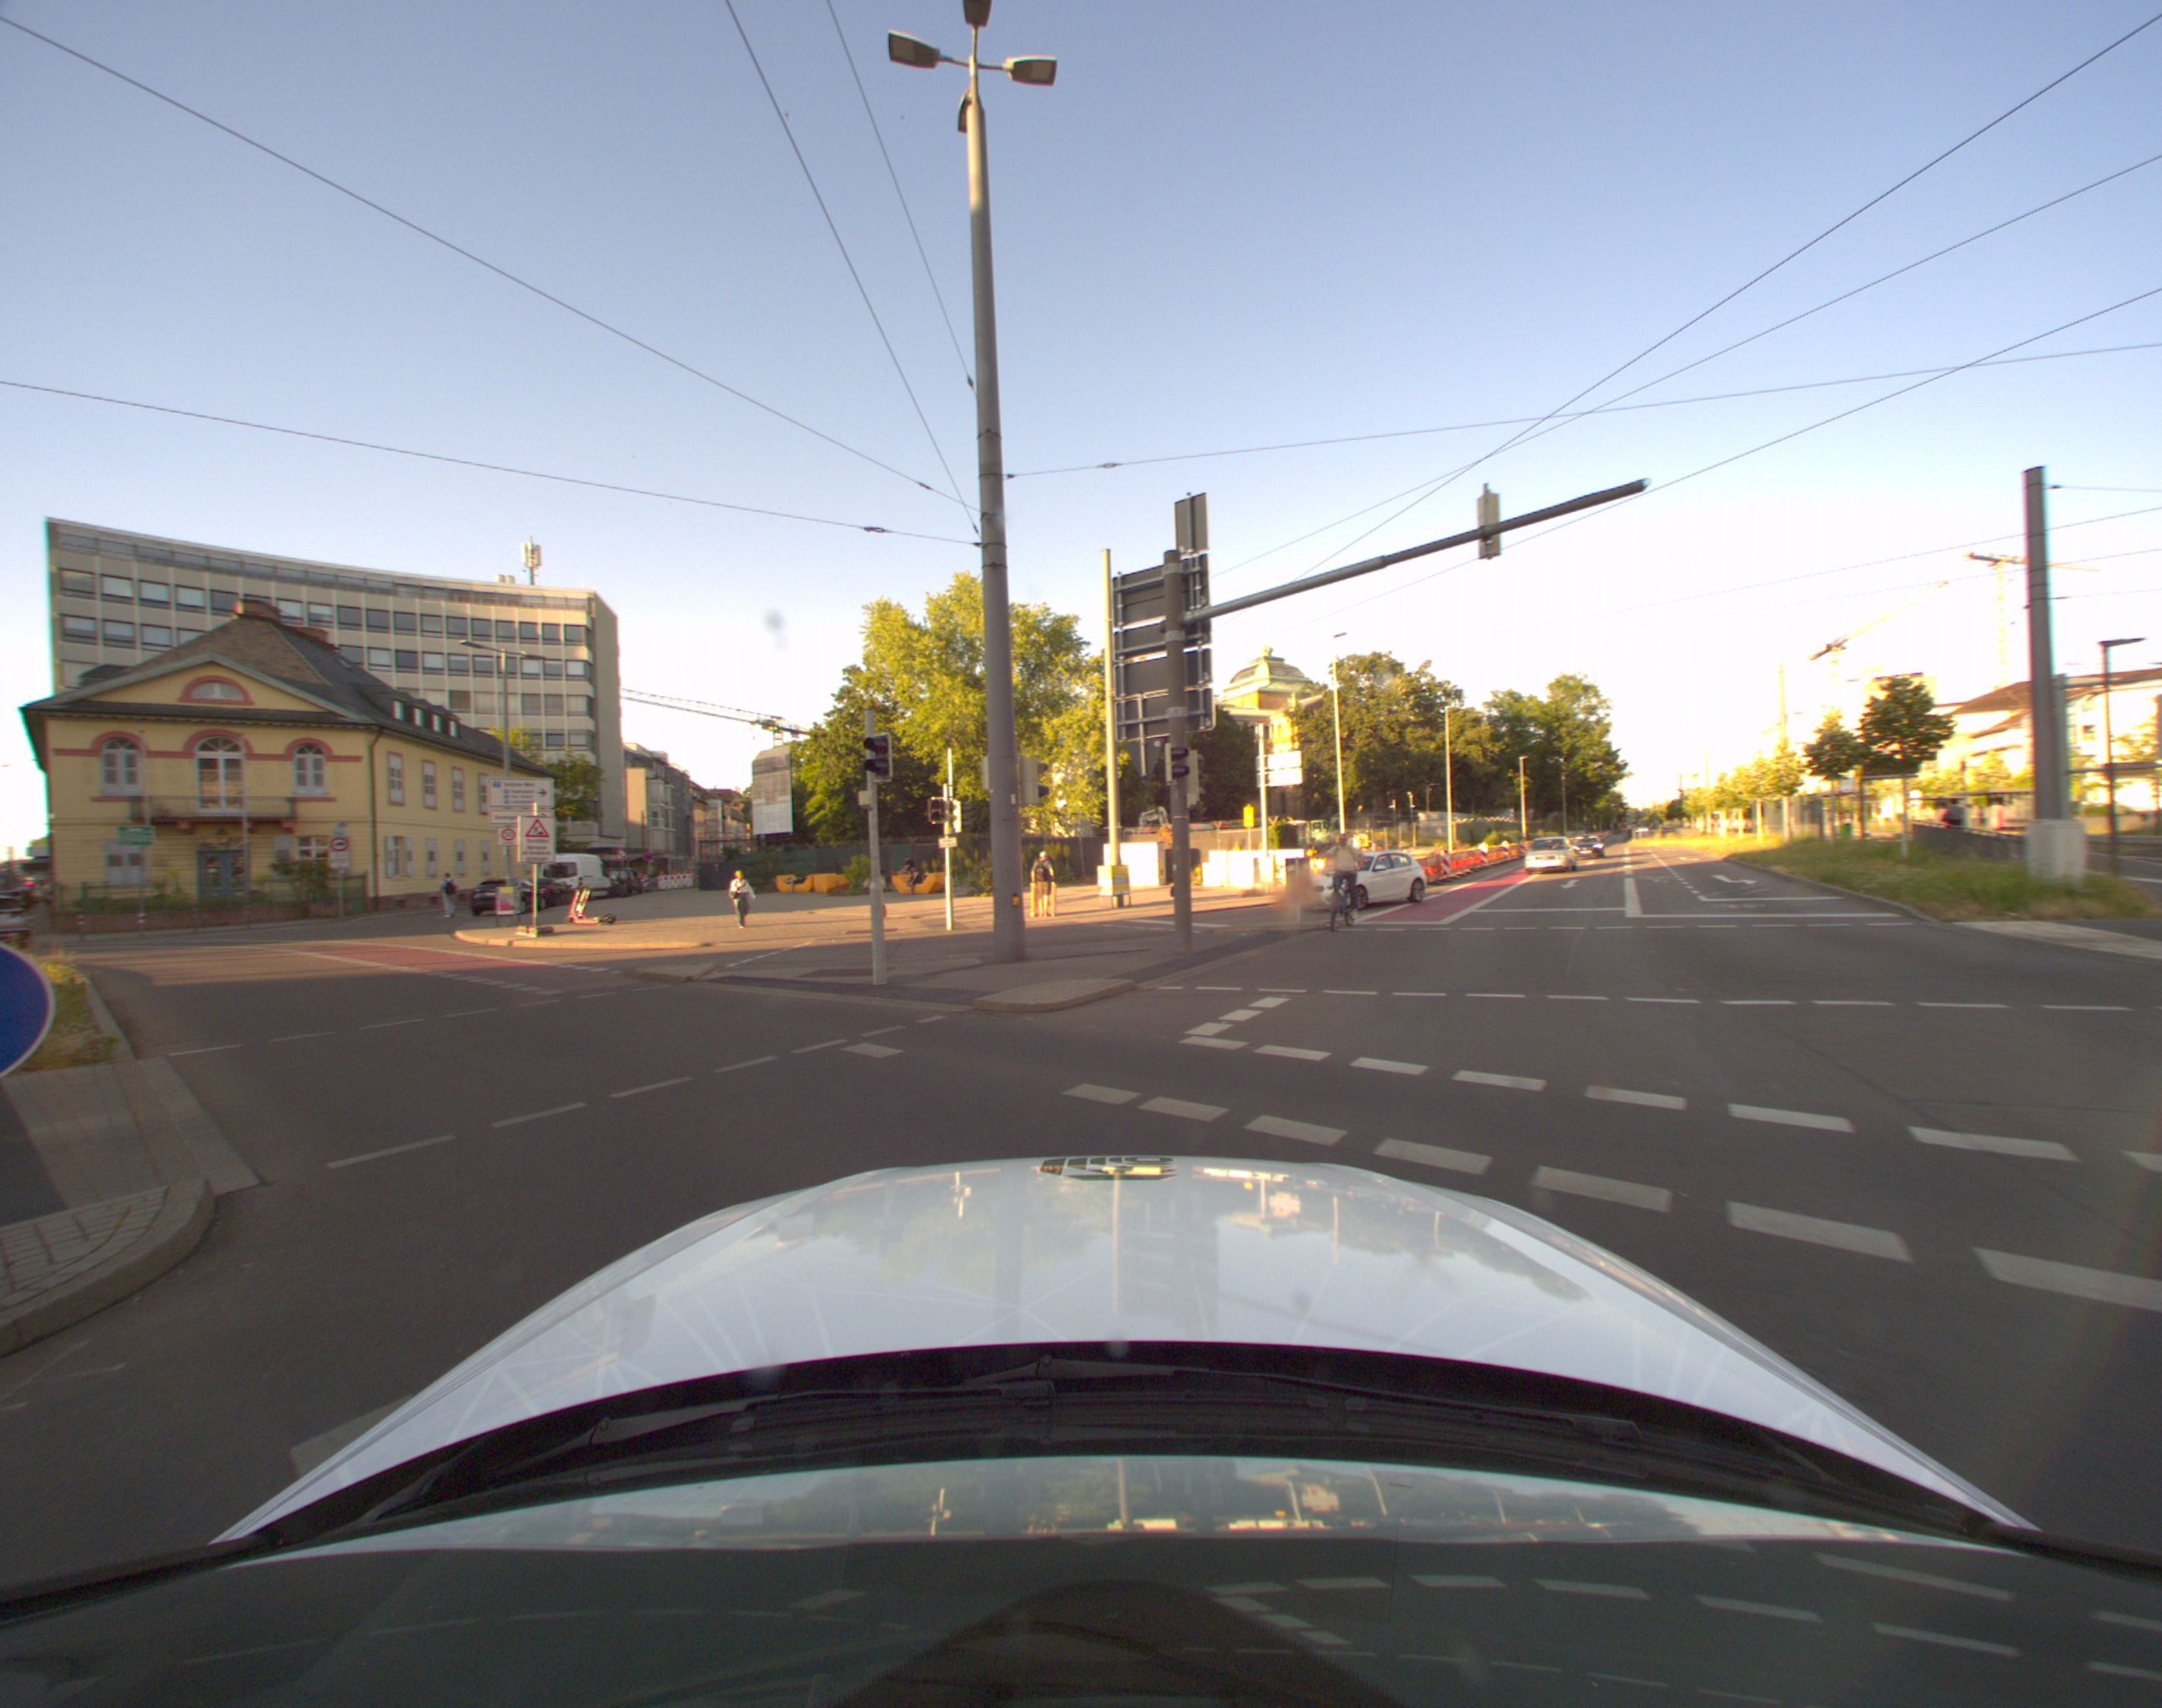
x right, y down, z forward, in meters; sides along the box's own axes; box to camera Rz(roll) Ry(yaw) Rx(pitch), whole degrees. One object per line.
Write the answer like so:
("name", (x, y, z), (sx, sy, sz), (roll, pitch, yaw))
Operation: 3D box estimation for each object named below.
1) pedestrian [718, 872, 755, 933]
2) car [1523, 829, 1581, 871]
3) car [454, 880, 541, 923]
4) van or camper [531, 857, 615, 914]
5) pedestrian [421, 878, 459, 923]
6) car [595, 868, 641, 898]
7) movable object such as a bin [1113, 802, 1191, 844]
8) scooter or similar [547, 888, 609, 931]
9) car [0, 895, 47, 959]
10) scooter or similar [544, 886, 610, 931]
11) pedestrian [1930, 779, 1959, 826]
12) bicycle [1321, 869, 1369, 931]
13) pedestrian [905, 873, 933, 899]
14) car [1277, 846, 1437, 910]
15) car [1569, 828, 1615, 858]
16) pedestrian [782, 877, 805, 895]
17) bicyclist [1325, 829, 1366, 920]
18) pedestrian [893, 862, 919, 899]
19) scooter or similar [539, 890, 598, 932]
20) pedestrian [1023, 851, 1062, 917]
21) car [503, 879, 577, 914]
("pedestrian", (-9.586, 1.334, 22.670), (0.589, 1.613, 0.694), (-3, 0, 43))
("car", (19.851, -0.177, 34.288), (1.659, 1.561, 3.750), (-5, -2, 35))
("car", (-24.447, 1.941, 34.310), (1.784, 1.543, 4.263), (-2, 0, -19))
("van or camper", (-27.568, 1.633, 44.462), (2.081, 2.774, 6.414), (-2, 0, -16))
("pedestrian", (-25.352, 1.823, 32.234), (0.877, 1.724, 0.825), (-2, -1, -14))
("car", (-30.450, 1.858, 53.690), (1.717, 1.849, 3.999), (-2, 0, -16))
("movable object such as a bin", (3.845, -1.650, 45.116), (2.003, 2.013, 4.983), (-3, 0, -25))
("scooter or similar", (-15.964, 1.756, 25.872), (1.522, 1.260, 0.610), (-3, 0, -11))
("car", (-31.374, 2.097, 22.636), (4.482, 1.661, 1.960), (-3, 0, 21))
("scooter or similar", (-15.658, 1.679, 25.320), (1.648, 1.292, 0.459), (-2, -1, -11))
("pedestrian", (30.790, -1.828, 29.049), (0.558, 1.591, 0.695), (-3, -1, 38))
("bicycle", (4.996, 0.847, 15.347), (0.589, 1.023, 1.858), (-3, 0, 25))
("pedestrian", (-7.513, 1.484, 37.699), (0.725, 1.157, 0.997), (-3, -1, 40))
("car", (7.311, 0.598, 21.409), (4.326, 1.405, 1.894), (-3, -1, -39))
("car", (30.513, -0.672, 48.568), (1.919, 1.617, 4.420), (-3, 0, 37))
("pedestrian", (-15.138, 1.709, 42.882), (0.970, 0.893, 0.564), (-3, 0, 19))
("bicyclist", (5.012, 0.374, 15.439), (0.589, 1.671, 0.752), (-3, 0, 24))
("pedestrian", (-8.208, 1.233, 38.176), (0.754, 1.665, 0.827), (-3, 0, 40))
("scooter or similar", (-15.531, 1.731, 24.704), (1.399, 1.166, 0.460), (-3, 0, -10))
("pedestrian", (-1.072, 0.819, 22.611), (0.940, 1.735, 0.820), (-3, 0, -7))
("car", (-25.774, 1.988, 38.952), (1.733, 1.429, 4.447), (-2, 0, -17))
